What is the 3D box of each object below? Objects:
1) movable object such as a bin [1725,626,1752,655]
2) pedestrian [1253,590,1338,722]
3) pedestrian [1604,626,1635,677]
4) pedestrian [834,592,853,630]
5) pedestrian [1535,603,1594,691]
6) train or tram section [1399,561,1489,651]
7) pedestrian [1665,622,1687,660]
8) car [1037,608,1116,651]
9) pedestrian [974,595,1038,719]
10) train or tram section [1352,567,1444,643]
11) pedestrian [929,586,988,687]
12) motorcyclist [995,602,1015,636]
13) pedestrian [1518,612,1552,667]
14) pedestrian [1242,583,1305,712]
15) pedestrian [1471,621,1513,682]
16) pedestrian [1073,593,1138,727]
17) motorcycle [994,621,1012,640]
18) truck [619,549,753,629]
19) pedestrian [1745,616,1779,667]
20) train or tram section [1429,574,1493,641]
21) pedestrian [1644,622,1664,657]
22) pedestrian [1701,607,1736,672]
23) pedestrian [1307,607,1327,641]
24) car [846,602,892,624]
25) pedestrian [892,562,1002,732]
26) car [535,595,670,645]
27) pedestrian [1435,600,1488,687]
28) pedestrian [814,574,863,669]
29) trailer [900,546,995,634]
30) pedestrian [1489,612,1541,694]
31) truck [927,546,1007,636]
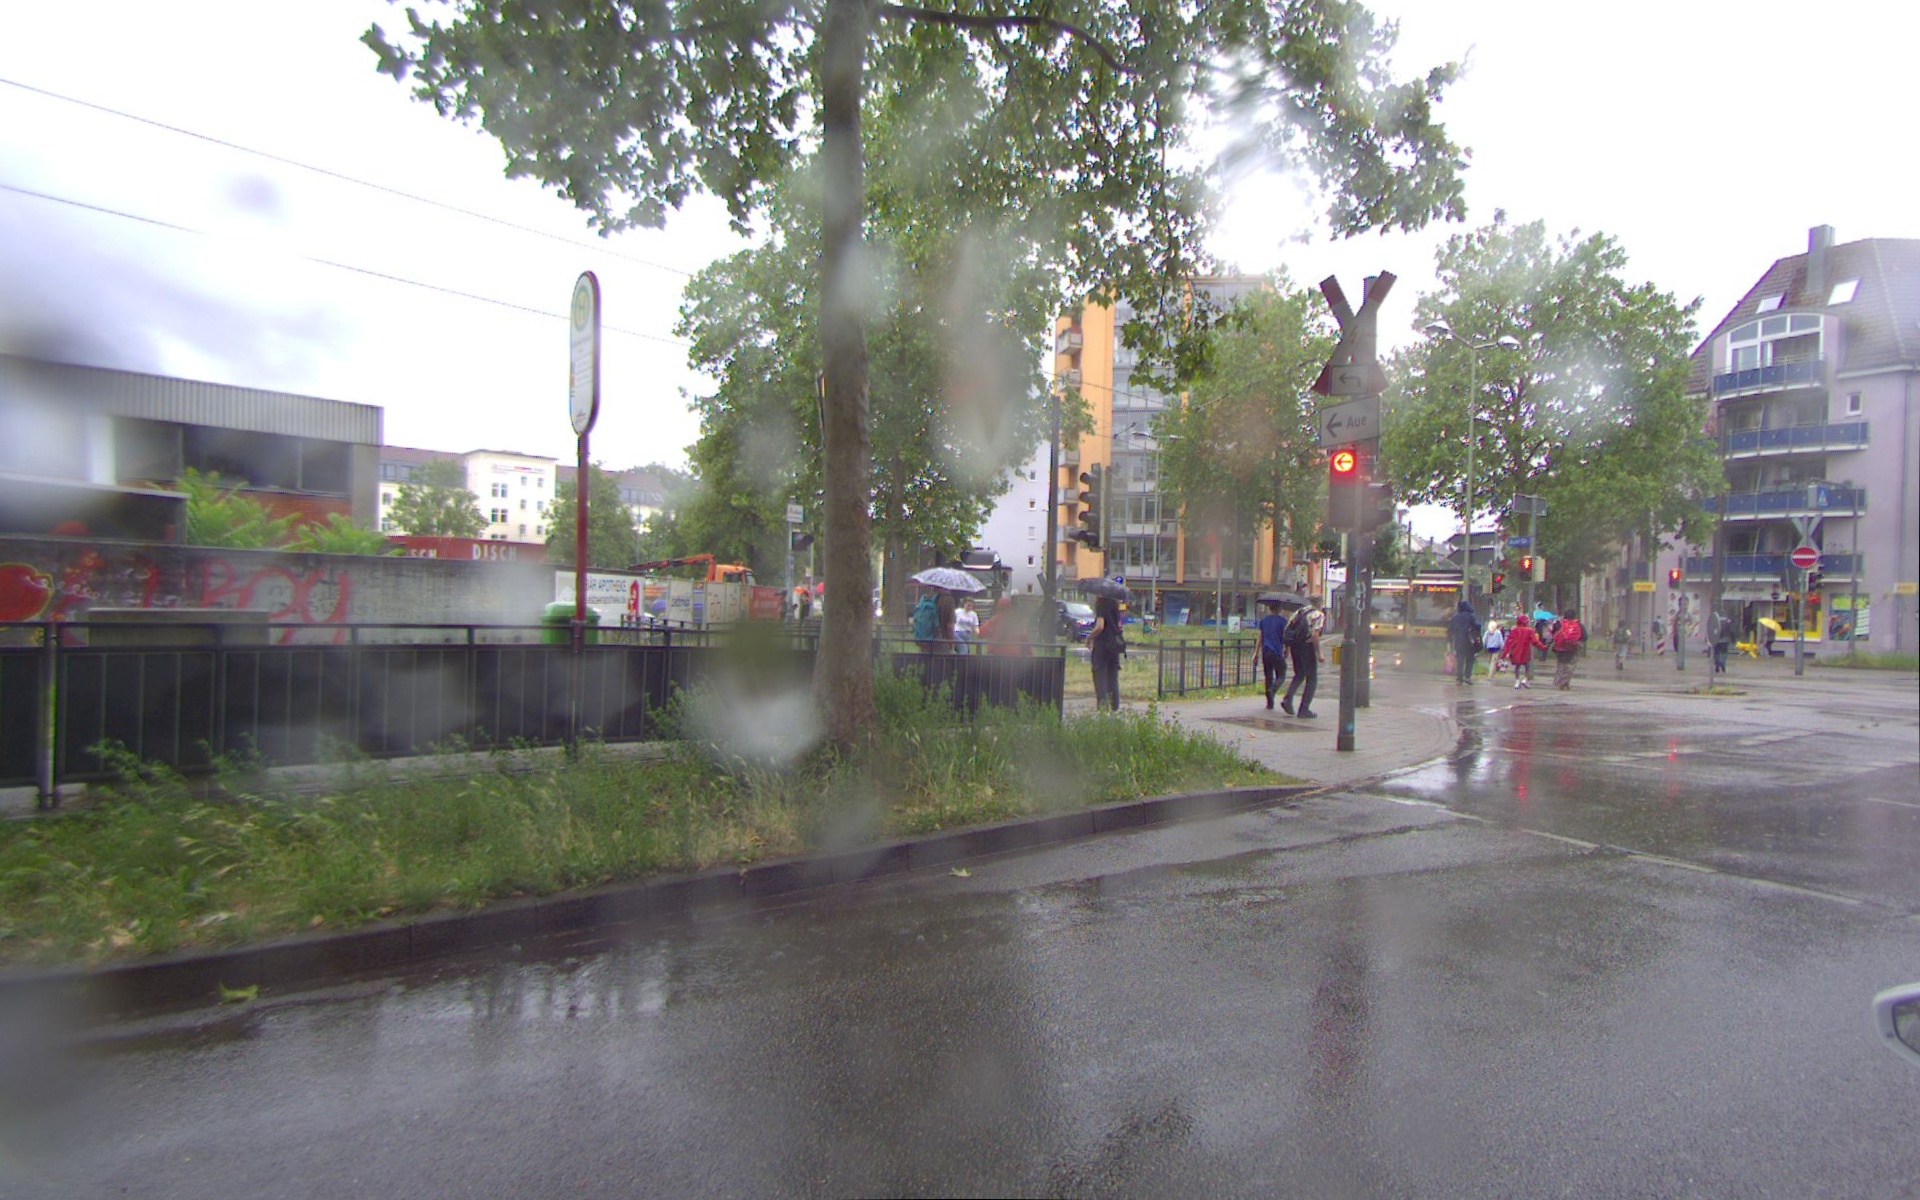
[{"bbox_3d":[34.715,1.823,44.777,0.660,1.253,0.746,2,0,-32],"label":"movable object such as a bin"},{"bbox_3d":[4.722,0.757,14.152,0.855,1.778,0.826,2,1,41],"label":"pedestrian"},{"bbox_3d":[18.933,1.473,28.845,0.638,1.414,0.782,1,0,26],"label":"pedestrian"},{"bbox_3d":[-5.910,0.541,50.957,0.765,1.891,0.940,2,0,4],"label":"pedestrian"},{"bbox_3d":[11.610,0.886,19.297,0.809,1.646,0.724,0,0,-37],"label":"pedestrian"},{"bbox_3d":[23.388,0.320,47.957,2.818,3.593,15.345,2,0,29],"label":"train or tram section"},{"bbox_3d":[30.451,1.734,42.708,0.740,1.553,0.789,2,0,37],"label":"pedestrian"},{"bbox_3d":[4.636,1.155,40.417,1.585,1.551,4.017,1,1,-19],"label":"car"},{"bbox_3d":[0.613,0.748,13.399,0.782,1.593,0.659,-2,0,2],"label":"pedestrian"},{"bbox_3d":[25.901,0.394,58.739,2.839,3.818,17.211,2,0,30],"label":"train or tram section"},{"bbox_3d":[-0.025,0.637,17.889,0.675,1.752,0.752,2,1,42],"label":"pedestrian"},{"bbox_3d":[2.142,0.902,48.292,0.765,1.635,0.774,2,0,-10],"label":"motorcyclist"},{"bbox_3d":[19.378,1.311,33.850,0.943,1.789,0.951,2,0,31],"label":"pedestrian"},{"bbox_3d":[4.798,0.706,15.426,0.854,1.889,0.892,1,0,16],"label":"pedestrian"},{"bbox_3d":[12.415,1.182,23.431,0.704,1.367,0.650,1,1,-44],"label":"pedestrian"},{"bbox_3d":[1.911,0.770,13.232,0.782,1.705,0.660,-2,0,8],"label":"pedestrian"},{"bbox_3d":[2.076,1.456,48.358,0.435,0.853,1.544,2,0,-13],"label":"motorcycle"},{"bbox_3d":[-11.847,-0.436,43.630,5.383,3.205,2.164,2,0,-16],"label":"truck"},{"bbox_3d":[35.107,1.820,43.963,0.877,2.179,0.903,2,0,-31],"label":"pedestrian"},{"bbox_3d":[30.427,0.481,60.650,2.817,3.593,13.693,2,0,29],"label":"train or tram section"},{"bbox_3d":[33.361,1.901,48.320,0.663,1.622,0.966,2,0,29],"label":"pedestrian"},{"bbox_3d":[22.376,1.152,29.656,0.777,1.880,0.679,2,1,37],"label":"pedestrian"},{"bbox_3d":[19.084,1.285,53.703,0.941,1.789,0.952,2,0,20],"label":"pedestrian"},{"bbox_3d":[-8.267,1.182,90.929,3.930,1.808,1.996,2,0,-12],"label":"car"},{"bbox_3d":[-0.128,0.523,11.532,0.966,1.851,1.077,-2,0,15],"label":"pedestrian"},{"bbox_3d":[-10.439,0.582,29.397,3.447,1.323,1.405,2,0,10],"label":"car"},{"bbox_3d":[10.186,0.872,20.428,0.823,1.721,0.689,-2,0,17],"label":"pedestrian"},{"bbox_3d":[-2.476,0.433,20.429,0.768,1.891,0.936,2,0,-18],"label":"pedestrian"},{"bbox_3d":[-0.833,-0.457,50.742,2.593,3.899,10.114,2,0,-13],"label":"trailer"},{"bbox_3d":[10.831,1.020,19.598,0.653,1.540,0.676,1,0,-38],"label":"pedestrian"},{"bbox_3d":[0.260,-0.382,46.052,2.593,3.842,4.444,2,0,-13],"label":"truck"}]
